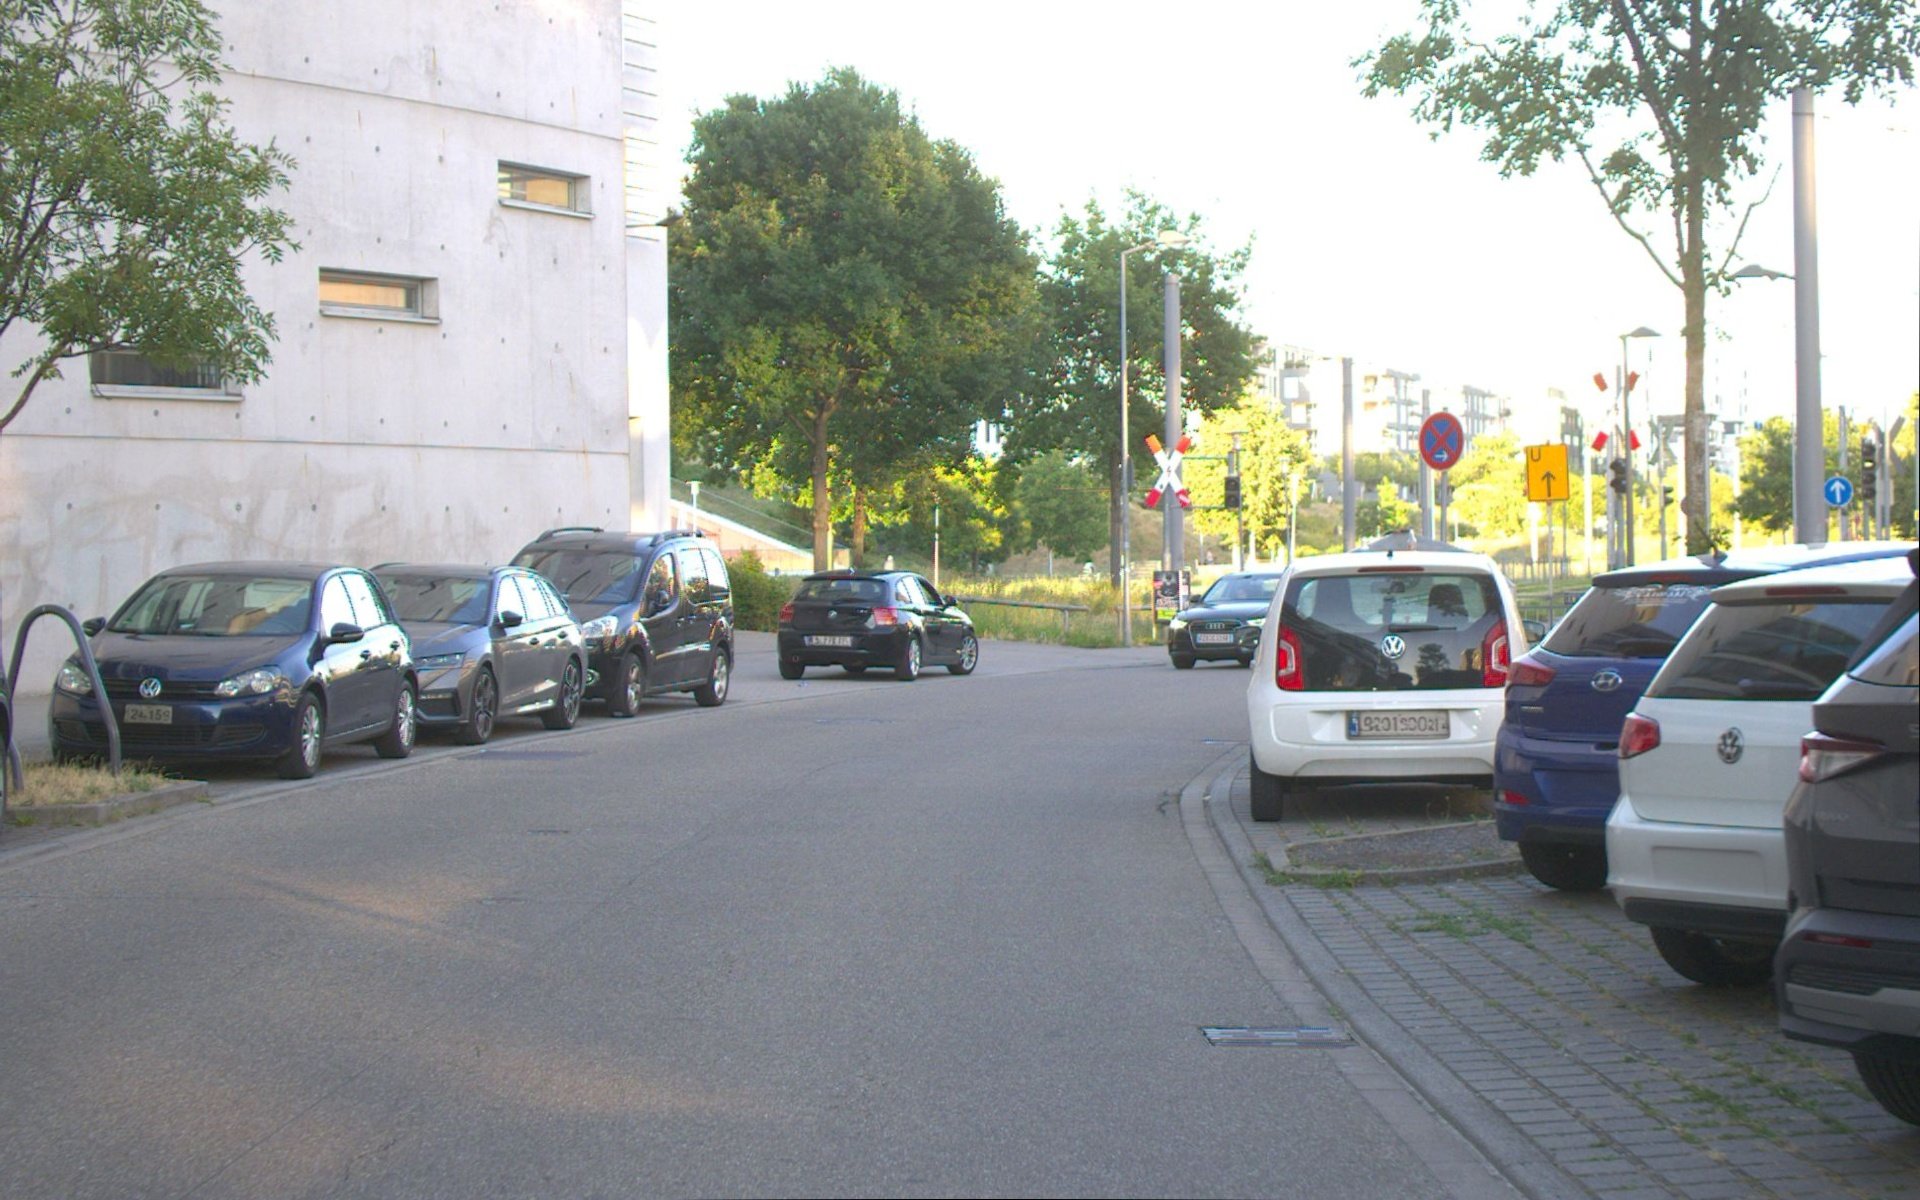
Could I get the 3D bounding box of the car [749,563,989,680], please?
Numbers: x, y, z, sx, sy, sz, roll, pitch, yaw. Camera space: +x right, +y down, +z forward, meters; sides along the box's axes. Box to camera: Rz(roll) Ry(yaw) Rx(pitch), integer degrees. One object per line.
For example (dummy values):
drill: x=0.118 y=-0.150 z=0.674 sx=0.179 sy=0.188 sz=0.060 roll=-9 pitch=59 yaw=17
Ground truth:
car: x=-1.138 y=0.240 z=45.261 sx=1.945 sy=1.378 sz=4.396 roll=2 pitch=1 yaw=15

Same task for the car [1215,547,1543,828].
car: x=2.456 y=0.450 z=20.247 sx=1.723 sy=1.462 sz=3.552 roll=-1 pitch=1 yaw=7

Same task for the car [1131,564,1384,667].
car: x=4.402 y=0.193 z=50.291 sx=1.781 sy=1.417 sz=4.507 roll=1 pitch=1 yaw=33

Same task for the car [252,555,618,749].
car: x=-4.400 y=0.377 z=29.574 sx=1.723 sy=1.452 sz=4.692 roll=2 pitch=1 yaw=9

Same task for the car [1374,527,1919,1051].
car: x=3.643 y=0.504 z=12.079 sx=3.920 sy=1.504 sz=1.957 roll=-3 pitch=2 yaw=-31

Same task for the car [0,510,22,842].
car: x=-5.570 y=0.399 z=15.366 sx=1.756 sy=1.648 sz=3.949 roll=1 pitch=1 yaw=-2

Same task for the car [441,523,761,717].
car: x=-3.549 y=0.144 z=34.837 sx=1.758 sy=1.792 sz=4.460 roll=2 pitch=1 yaw=14

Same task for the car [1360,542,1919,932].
car: x=3.774 y=0.531 z=15.248 sx=3.742 sy=1.504 sz=1.688 roll=0 pitch=2 yaw=-34

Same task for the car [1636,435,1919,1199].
car: x=3.721 y=0.498 z=8.684 sx=3.767 sy=1.720 sz=1.763 roll=0 pitch=2 yaw=-34

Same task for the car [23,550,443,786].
car: x=-5.060 y=0.412 z=24.503 sx=1.723 sy=1.452 sz=4.271 roll=2 pitch=1 yaw=5
